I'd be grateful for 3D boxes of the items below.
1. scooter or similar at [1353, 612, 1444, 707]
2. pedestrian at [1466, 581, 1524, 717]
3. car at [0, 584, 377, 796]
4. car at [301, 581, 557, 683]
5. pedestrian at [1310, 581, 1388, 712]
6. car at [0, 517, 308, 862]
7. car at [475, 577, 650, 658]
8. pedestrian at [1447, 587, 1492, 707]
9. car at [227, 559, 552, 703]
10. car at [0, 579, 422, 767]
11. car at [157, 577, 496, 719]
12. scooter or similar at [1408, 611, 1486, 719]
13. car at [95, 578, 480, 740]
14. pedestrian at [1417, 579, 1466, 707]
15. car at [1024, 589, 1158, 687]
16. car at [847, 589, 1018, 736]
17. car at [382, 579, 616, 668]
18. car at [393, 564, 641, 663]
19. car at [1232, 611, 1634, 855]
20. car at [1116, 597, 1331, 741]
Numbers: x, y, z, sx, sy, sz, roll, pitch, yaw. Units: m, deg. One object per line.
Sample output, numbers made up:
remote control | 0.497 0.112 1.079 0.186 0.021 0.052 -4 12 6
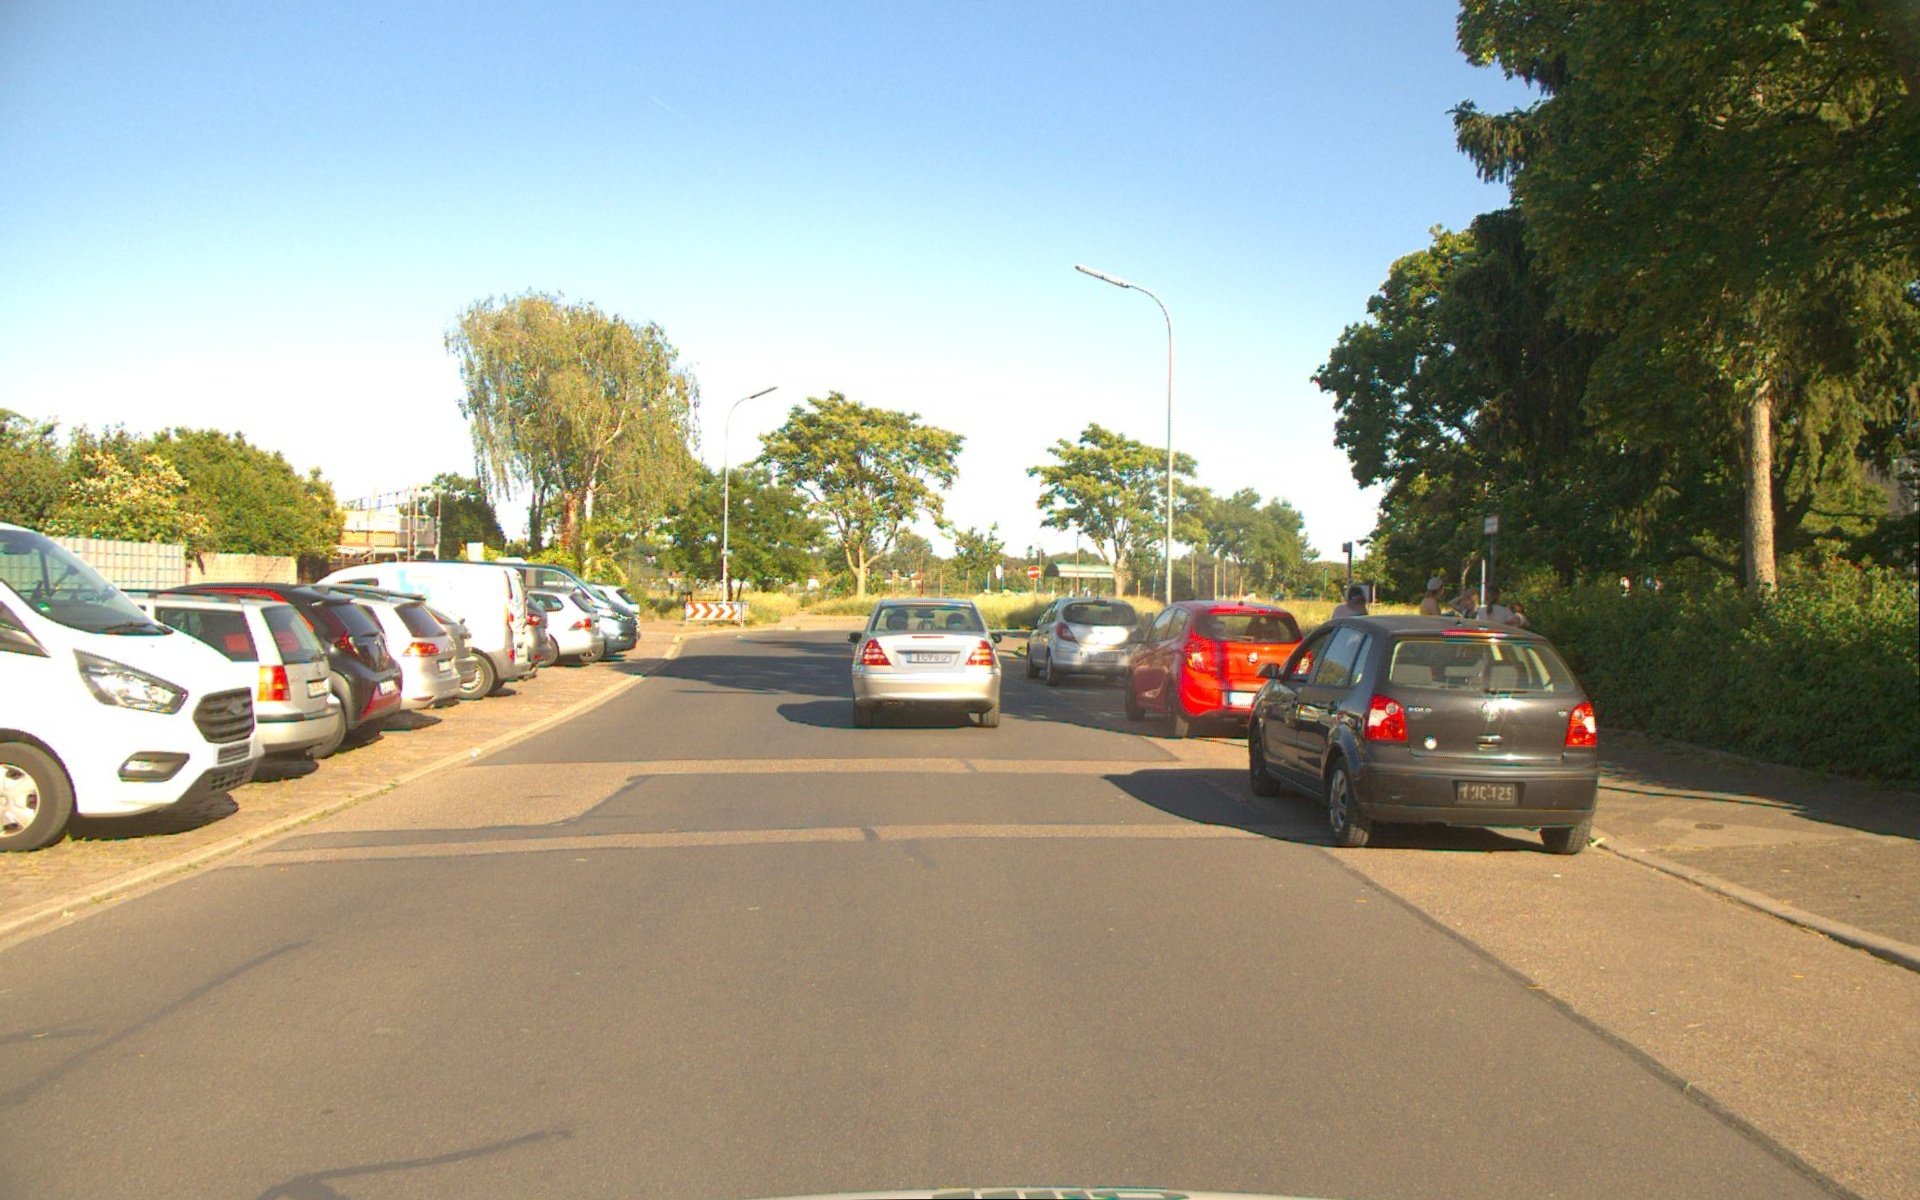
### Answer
scooter or similar | 5.941 0.792 22.442 0.395 1.249 1.239 0 -1 -34
pedestrian | 6.394 0.581 19.782 0.476 1.592 0.468 -1 -1 -7
car | -6.713 0.665 13.246 3.442 1.471 1.636 3 -1 -1
car | -8.690 0.516 27.355 3.743 1.559 1.785 1 0 -9
pedestrian | 4.894 0.581 20.827 0.772 1.592 0.569 3 -1 -4
car | -6.950 0.437 10.524 4.693 1.954 2.080 3 -1 -3
car | -8.984 0.391 37.578 3.541 1.635 1.732 3 -1 -4
pedestrian | 6.579 0.600 21.361 0.354 1.529 0.500 -1 -1 -6
car | -7.833 0.409 23.060 3.901 1.811 1.923 2 0 -7
car | -7.007 0.645 15.438 3.446 1.515 1.635 2 1 -6
car | -7.715 0.577 20.398 3.442 1.515 1.727 3 -1 -1
scooter or similar | 5.808 0.763 19.768 0.610 1.249 0.904 0 0 -4
car | -7.203 0.621 17.973 3.442 1.515 1.636 3 -1 -1
pedestrian | 6.082 0.544 20.915 0.471 1.592 0.597 -1 -1 7
car | 2.235 0.634 29.126 1.697 1.570 3.784 1 0 -5
car | -0.353 0.653 19.785 1.779 1.489 4.359 2 1 -2
car | -8.925 0.453 32.326 4.057 1.518 1.923 2 -1 -5
car | -9.225 0.286 34.828 4.780 1.949 1.996 1 0 -8
car | 3.154 0.808 11.827 1.614 1.427 3.880 1 0 -2
car | 2.946 0.728 19.211 1.545 1.471 3.784 1 0 -5
